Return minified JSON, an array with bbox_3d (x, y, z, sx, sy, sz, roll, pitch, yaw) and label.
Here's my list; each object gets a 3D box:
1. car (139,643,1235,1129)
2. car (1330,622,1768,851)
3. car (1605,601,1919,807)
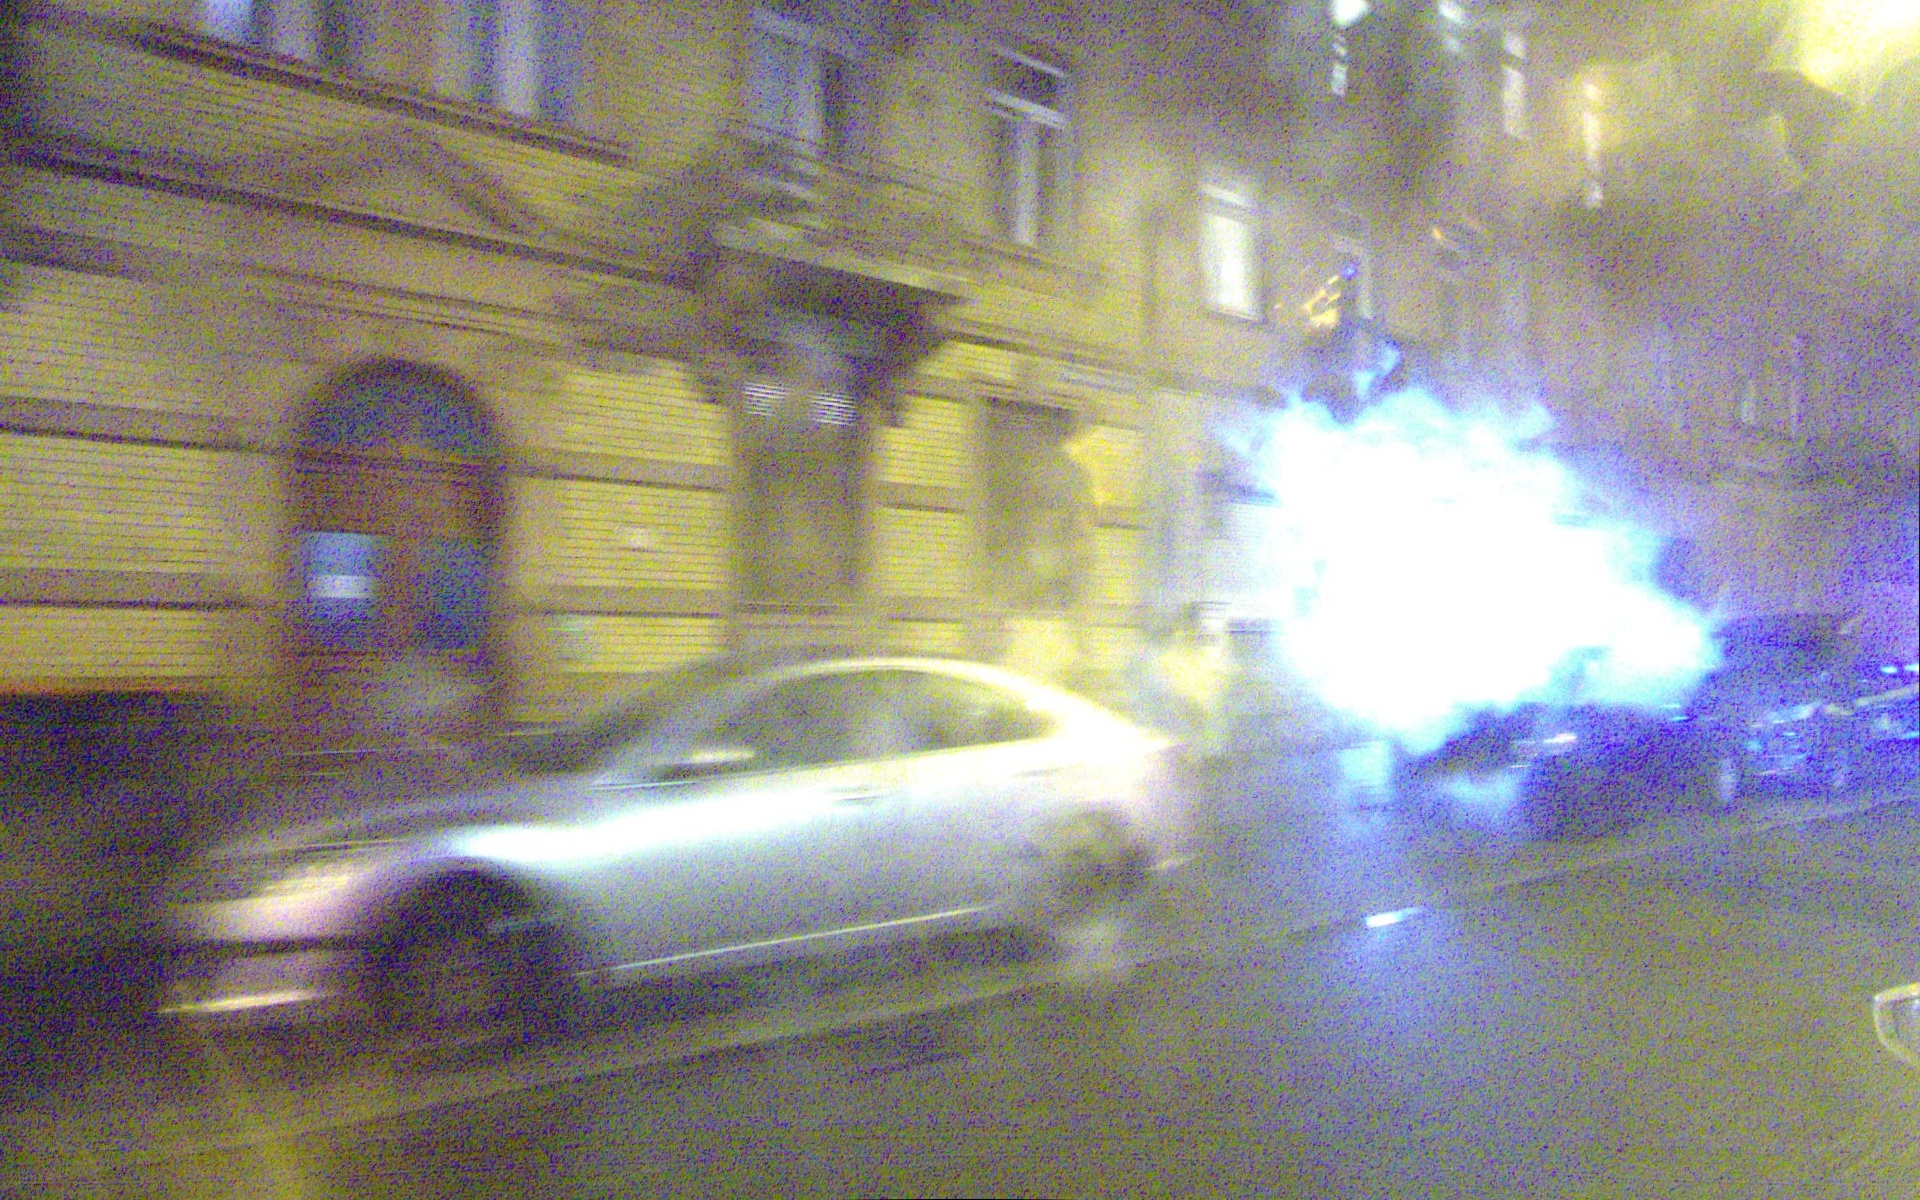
[{"bbox_3d":[-0.918,0.936,4.896,4.501,1.410,1.719,1,-1,-30],"label":"car"},{"bbox_3d":[5.163,1.016,8.733,3.676,1.595,1.719,1,-1,-30],"label":"car"},{"bbox_3d":[9.396,1.005,11.083,4.772,1.853,1.894,1,-1,-30],"label":"car"}]
